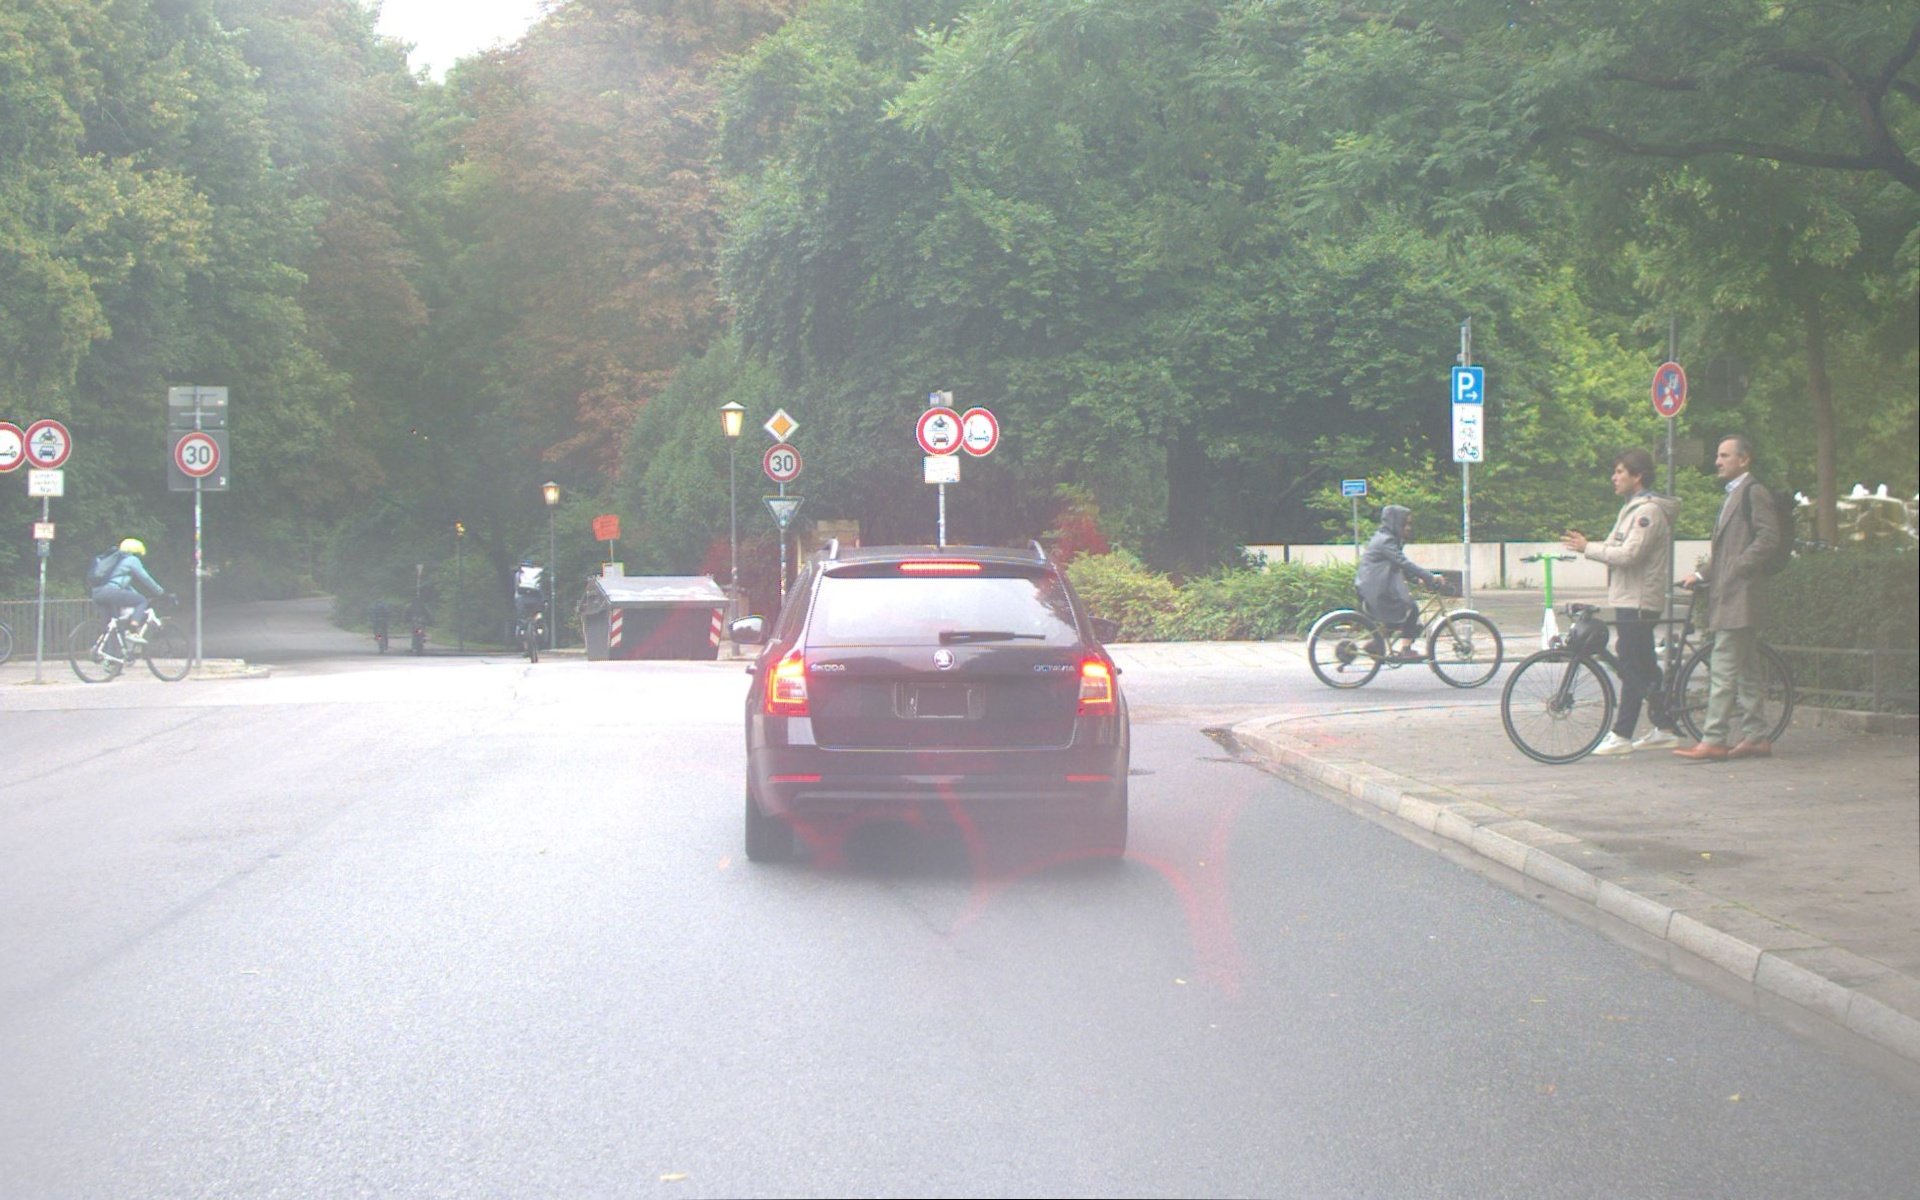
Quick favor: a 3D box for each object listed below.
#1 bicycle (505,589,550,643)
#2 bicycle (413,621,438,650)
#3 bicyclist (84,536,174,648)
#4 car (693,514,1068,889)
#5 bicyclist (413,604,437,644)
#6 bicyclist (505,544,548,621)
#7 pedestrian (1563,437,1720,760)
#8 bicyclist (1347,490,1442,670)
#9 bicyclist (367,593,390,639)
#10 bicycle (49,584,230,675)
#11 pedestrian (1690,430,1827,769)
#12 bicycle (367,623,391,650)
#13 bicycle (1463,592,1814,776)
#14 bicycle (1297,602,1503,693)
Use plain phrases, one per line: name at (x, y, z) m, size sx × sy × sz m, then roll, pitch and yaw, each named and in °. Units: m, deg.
bicycle at (-7.220, 0.258, 57.413) m, size 0.679 × 0.827 × 2.110 m, roll -1°, pitch 1°, yaw -6°
bicycle at (-15.970, 1.047, 102.653) m, size 0.679 × 0.827 × 2.110 m, roll -1°, pitch 0°, yaw -10°
bicyclist at (-9.411, -0.095, 38.931) m, size 0.524 × 1.253 × 0.852 m, roll -1°, pitch 0°, yaw 32°
car at (-0.344, 0.395, 16.654) m, size 1.577 × 1.578 × 4.044 m, roll -1°, pitch 1°, yaw 0°
bicyclist at (-15.983, 0.710, 102.671) m, size 0.680 × 1.183 × 0.481 m, roll -1°, pitch 1°, yaw -11°
bicyclist at (-7.241, -0.294, 57.459) m, size 0.680 × 1.278 × 0.599 m, roll -1°, pitch 1°, yaw -6°
pedestrian at (4.156, -0.014, 21.001) m, size 0.674 × 1.912 × 0.641 m, roll -3°, pitch 1°, yaw -10°
bicyclist at (3.879, -0.176, 30.727) m, size 0.750 × 1.579 × 0.656 m, roll -1°, pitch 0°, yaw 0°
bicyclist at (-19.362, 0.541, 114.510) m, size 0.680 × 1.499 × 0.901 m, roll -1°, pitch 1°, yaw -12°
bicycle at (-9.294, 0.319, 39.017) m, size 0.681 × 0.987 × 2.106 m, roll -1°, pitch 0°, yaw 32°
pedestrian at (4.615, -0.007, 19.880) m, size 0.541 × 1.912 × 0.492 m, roll -3°, pitch 1°, yaw -10°
bicycle at (-19.327, 1.210, 114.386) m, size 0.679 × 0.827 × 2.110 m, roll -1°, pitch 0°, yaw -12°
bicycle at (4.009, 0.486, 20.341) m, size 1.905 × 0.946 × 0.582 m, roll -4°, pitch 1°, yaw -9°
bicycle at (3.921, 0.419, 30.721) m, size 1.763 × 0.794 × 0.570 m, roll 0°, pitch 0°, yaw 0°
